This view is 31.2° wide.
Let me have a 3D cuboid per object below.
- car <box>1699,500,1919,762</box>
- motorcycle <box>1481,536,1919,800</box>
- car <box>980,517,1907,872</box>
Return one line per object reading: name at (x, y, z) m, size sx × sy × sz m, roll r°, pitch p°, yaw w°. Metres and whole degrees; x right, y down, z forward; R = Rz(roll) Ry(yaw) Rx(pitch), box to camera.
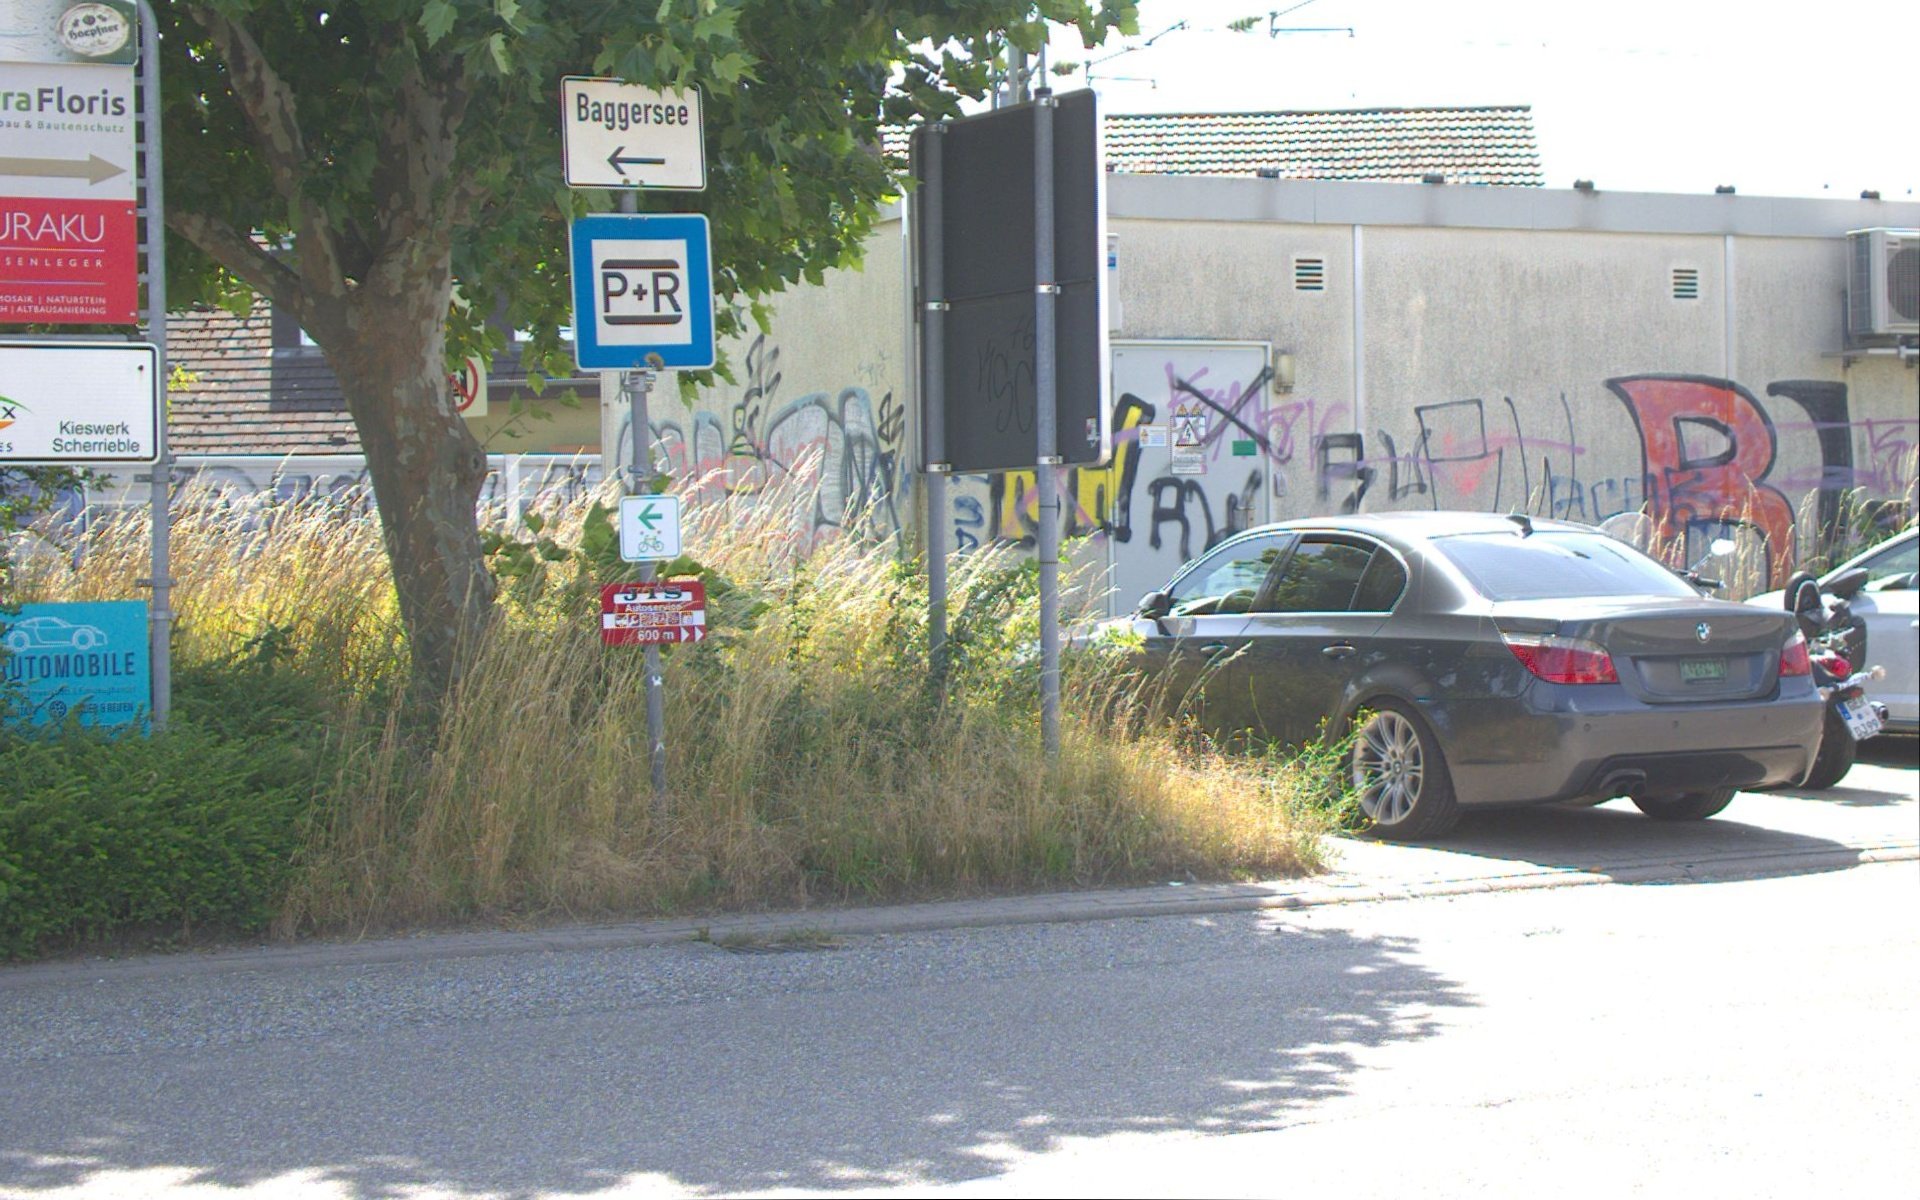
car at (6.129, 0.174, 18.821) m, size 1.781 × 1.397 × 4.087 m, roll -1°, pitch 3°, yaw -30°
motorcycle at (3.870, 0.310, 18.055) m, size 0.715 × 1.276 × 2.733 m, roll -1°, pitch 1°, yaw -29°
car at (2.080, 0.350, 16.072) m, size 1.782 × 1.406 × 4.440 m, roll -1°, pitch 1°, yaw -34°
